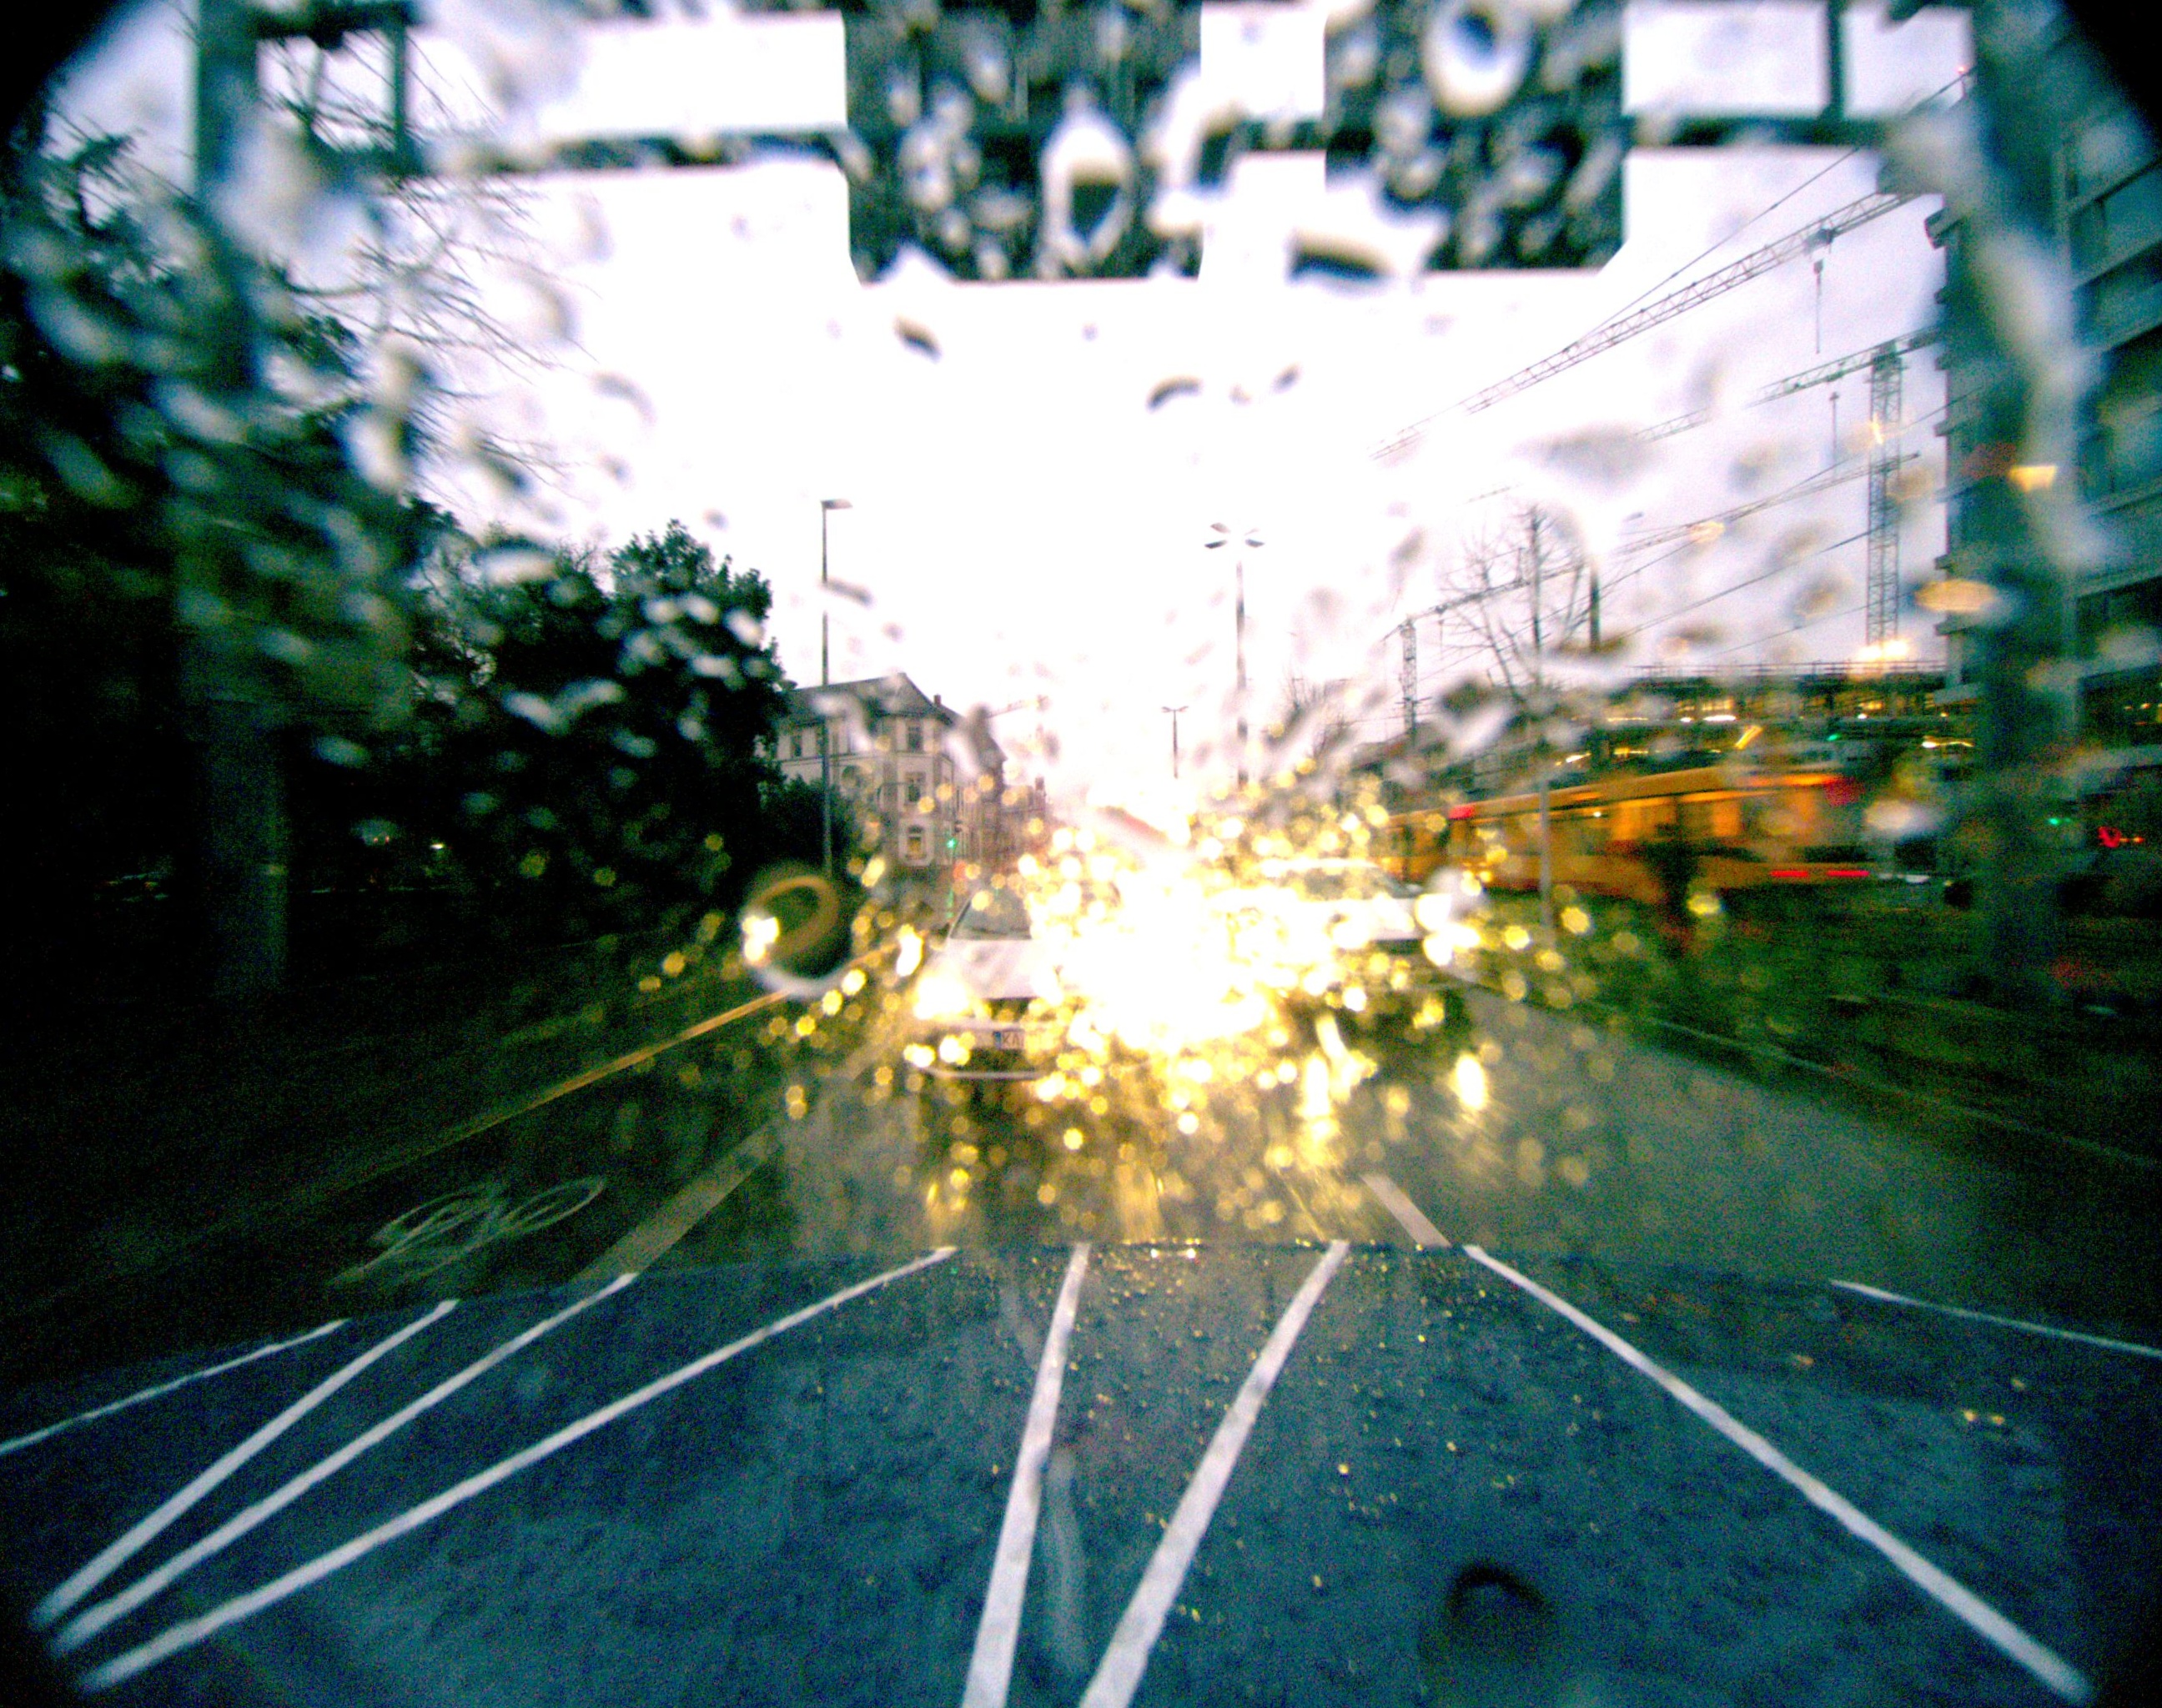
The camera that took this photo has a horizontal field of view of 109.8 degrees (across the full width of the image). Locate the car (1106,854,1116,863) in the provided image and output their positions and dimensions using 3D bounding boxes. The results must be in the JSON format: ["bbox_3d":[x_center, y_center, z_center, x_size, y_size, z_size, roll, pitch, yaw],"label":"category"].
[{"bbox_3d":[5.402,0.809,137.629,1.767,1.363,3.981,-2,0,3],"label":"car"}]

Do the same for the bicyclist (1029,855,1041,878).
[{"bbox_3d":[-2.820,0.757,46.526,0.647,1.381,0.890,-1,0,2],"label":"bicyclist"}]

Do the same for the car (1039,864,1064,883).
[{"bbox_3d":[-2.425,1.606,62.953,1.875,1.403,4.000,-1,0,1],"label":"car"}]

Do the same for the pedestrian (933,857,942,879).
[{"bbox_3d":[-9.959,0.977,52.782,0.521,1.501,0.587,-1,1,-16],"label":"pedestrian"}]

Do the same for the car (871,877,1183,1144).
[{"bbox_3d":[-0.315,0.992,6.498,1.798,1.363,3.981,-2,0,0],"label":"car"}]

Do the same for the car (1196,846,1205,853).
[{"bbox_3d":[33.863,-1.217,215.956,1.998,1.812,4.000,-1,0,2],"label":"car"}]

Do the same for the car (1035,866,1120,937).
[{"bbox_3d":[-0.068,1.020,17.824,1.728,1.318,3.981,-2,0,0],"label":"car"}]

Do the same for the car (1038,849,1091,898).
[{"bbox_3d":[-0.580,0.677,28.612,1.781,1.666,3.981,-2,0,0],"label":"car"}]

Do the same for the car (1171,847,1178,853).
[{"bbox_3d":[29.889,-1.288,243.291,1.998,2.002,4.000,-1,0,1],"label":"car"}]

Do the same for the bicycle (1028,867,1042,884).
[{"bbox_3d":[-2.830,1.301,46.552,0.647,0.961,2.046,-1,0,2],"label":"bicycle"}]

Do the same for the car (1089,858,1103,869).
[{"bbox_3d":[2.119,1.283,105.006,1.767,1.363,3.982,-2,0,3],"label":"car"}]

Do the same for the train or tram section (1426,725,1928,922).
[{"bbox_3d":[13.861,-0.539,20.675,2.964,3.466,14.268,-1,0,2],"label":"train or tram section"}]

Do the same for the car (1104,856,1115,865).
[{"bbox_3d":[4.449,0.988,118.367,1.767,1.363,3.981,-2,0,3],"label":"car"}]

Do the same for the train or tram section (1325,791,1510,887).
[{"bbox_3d":[14.616,-0.558,34.987,2.964,3.466,14.321,-1,0,3],"label":"train or tram section"}]

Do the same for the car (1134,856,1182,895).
[{"bbox_3d":[3.108,0.834,31.140,1.766,1.363,3.982,-2,0,4],"label":"car"}]

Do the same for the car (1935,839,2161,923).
[{"bbox_3d":[19.892,0.455,14.326,1.998,1.459,5.034,-1,0,2],"label":"car"}]

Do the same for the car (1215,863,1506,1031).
[{"bbox_3d":[2.974,0.882,9.286,1.851,1.397,4.614,-2,0,0],"label":"car"}]
